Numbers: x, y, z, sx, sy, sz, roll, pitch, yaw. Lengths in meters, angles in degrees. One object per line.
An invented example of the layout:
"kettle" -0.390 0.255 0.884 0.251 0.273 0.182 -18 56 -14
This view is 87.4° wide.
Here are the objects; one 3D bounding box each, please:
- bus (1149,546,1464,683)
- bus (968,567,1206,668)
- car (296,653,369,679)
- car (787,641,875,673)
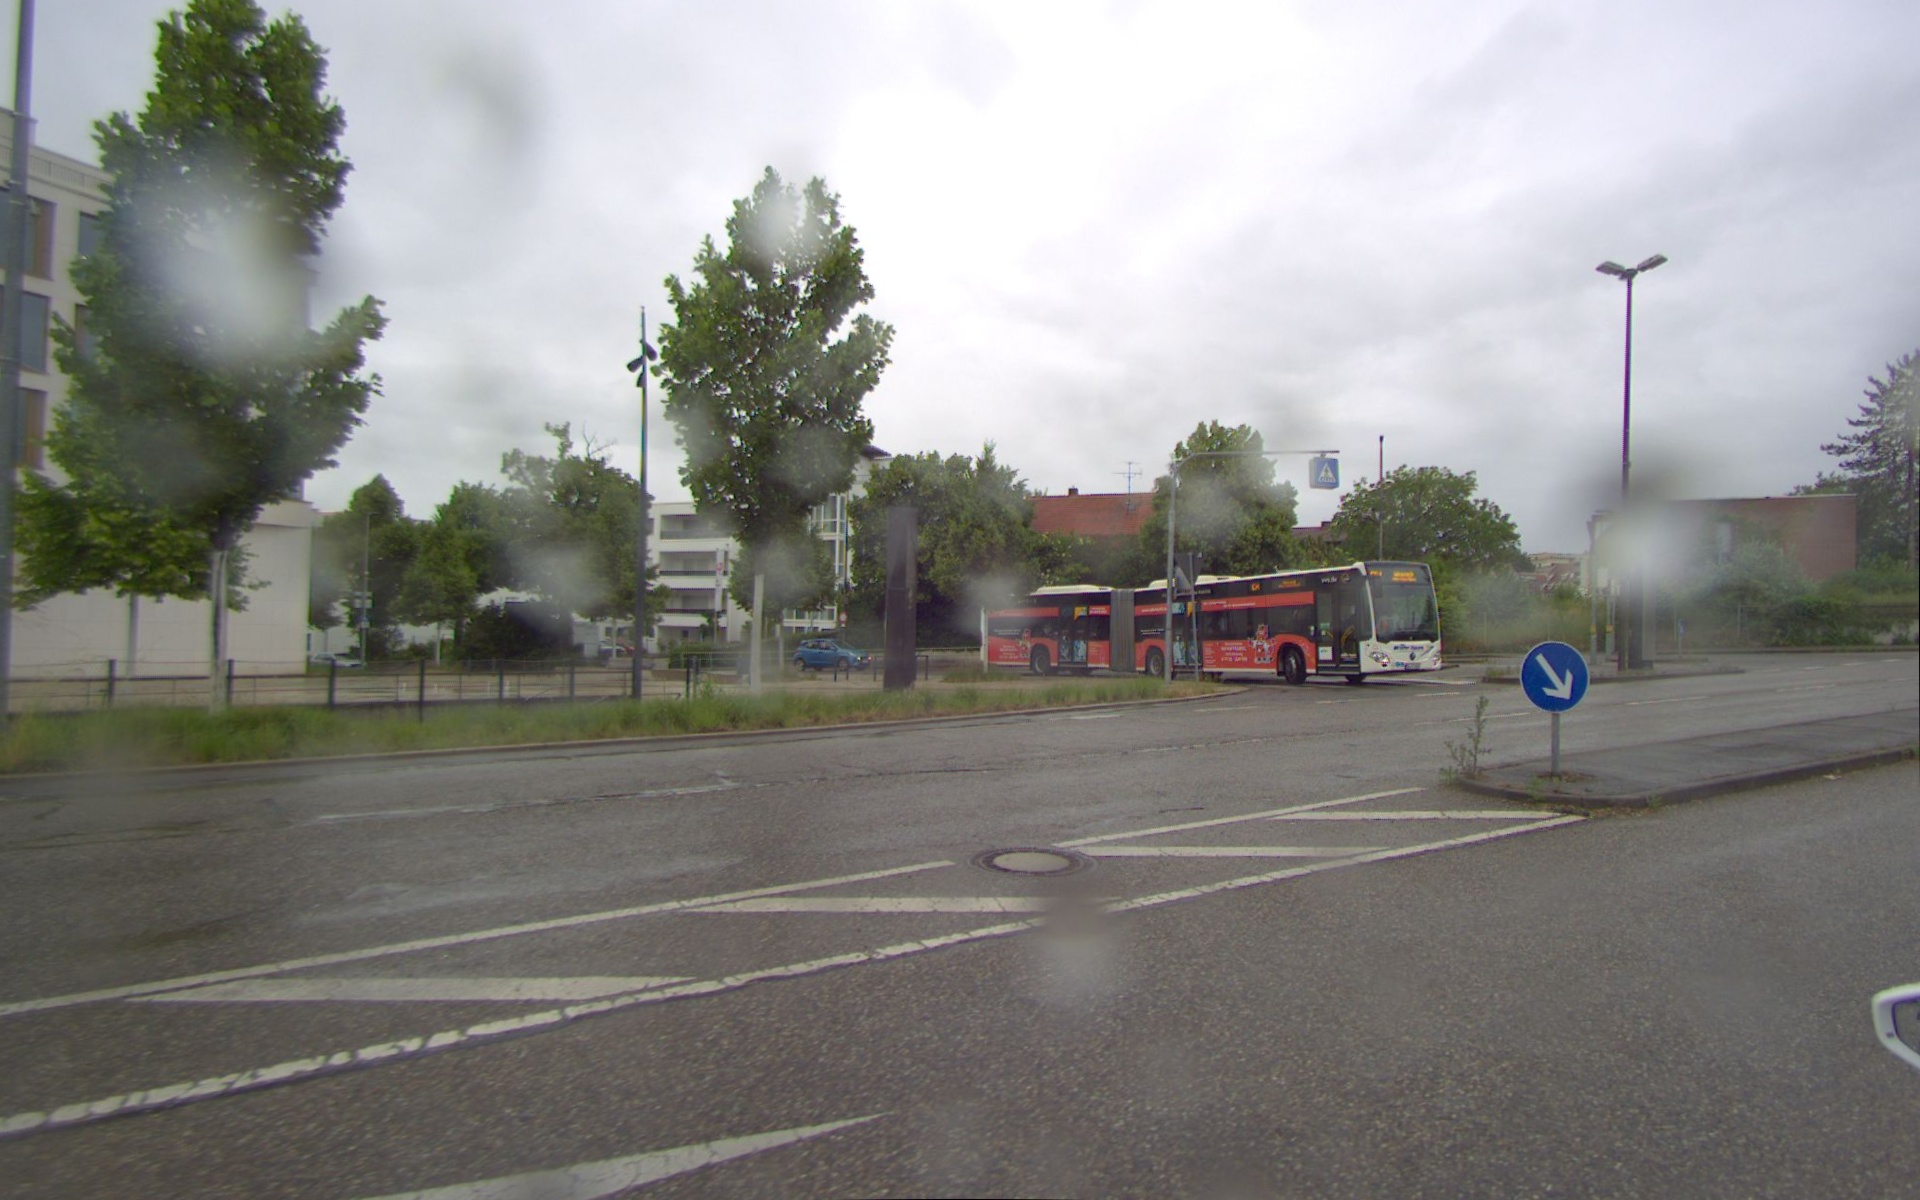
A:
"bus" 9.050 0.451 27.732 2.765 3.155 8.822 1 -2 -27
"bus" 4.201 0.629 35.916 2.761 3.155 9.267 2 -2 -37
"car" -38.785 4.063 62.091 3.920 1.486 1.587 0 -2 17
"car" -6.024 2.652 46.961 3.676 1.437 1.766 -1 -1 22
